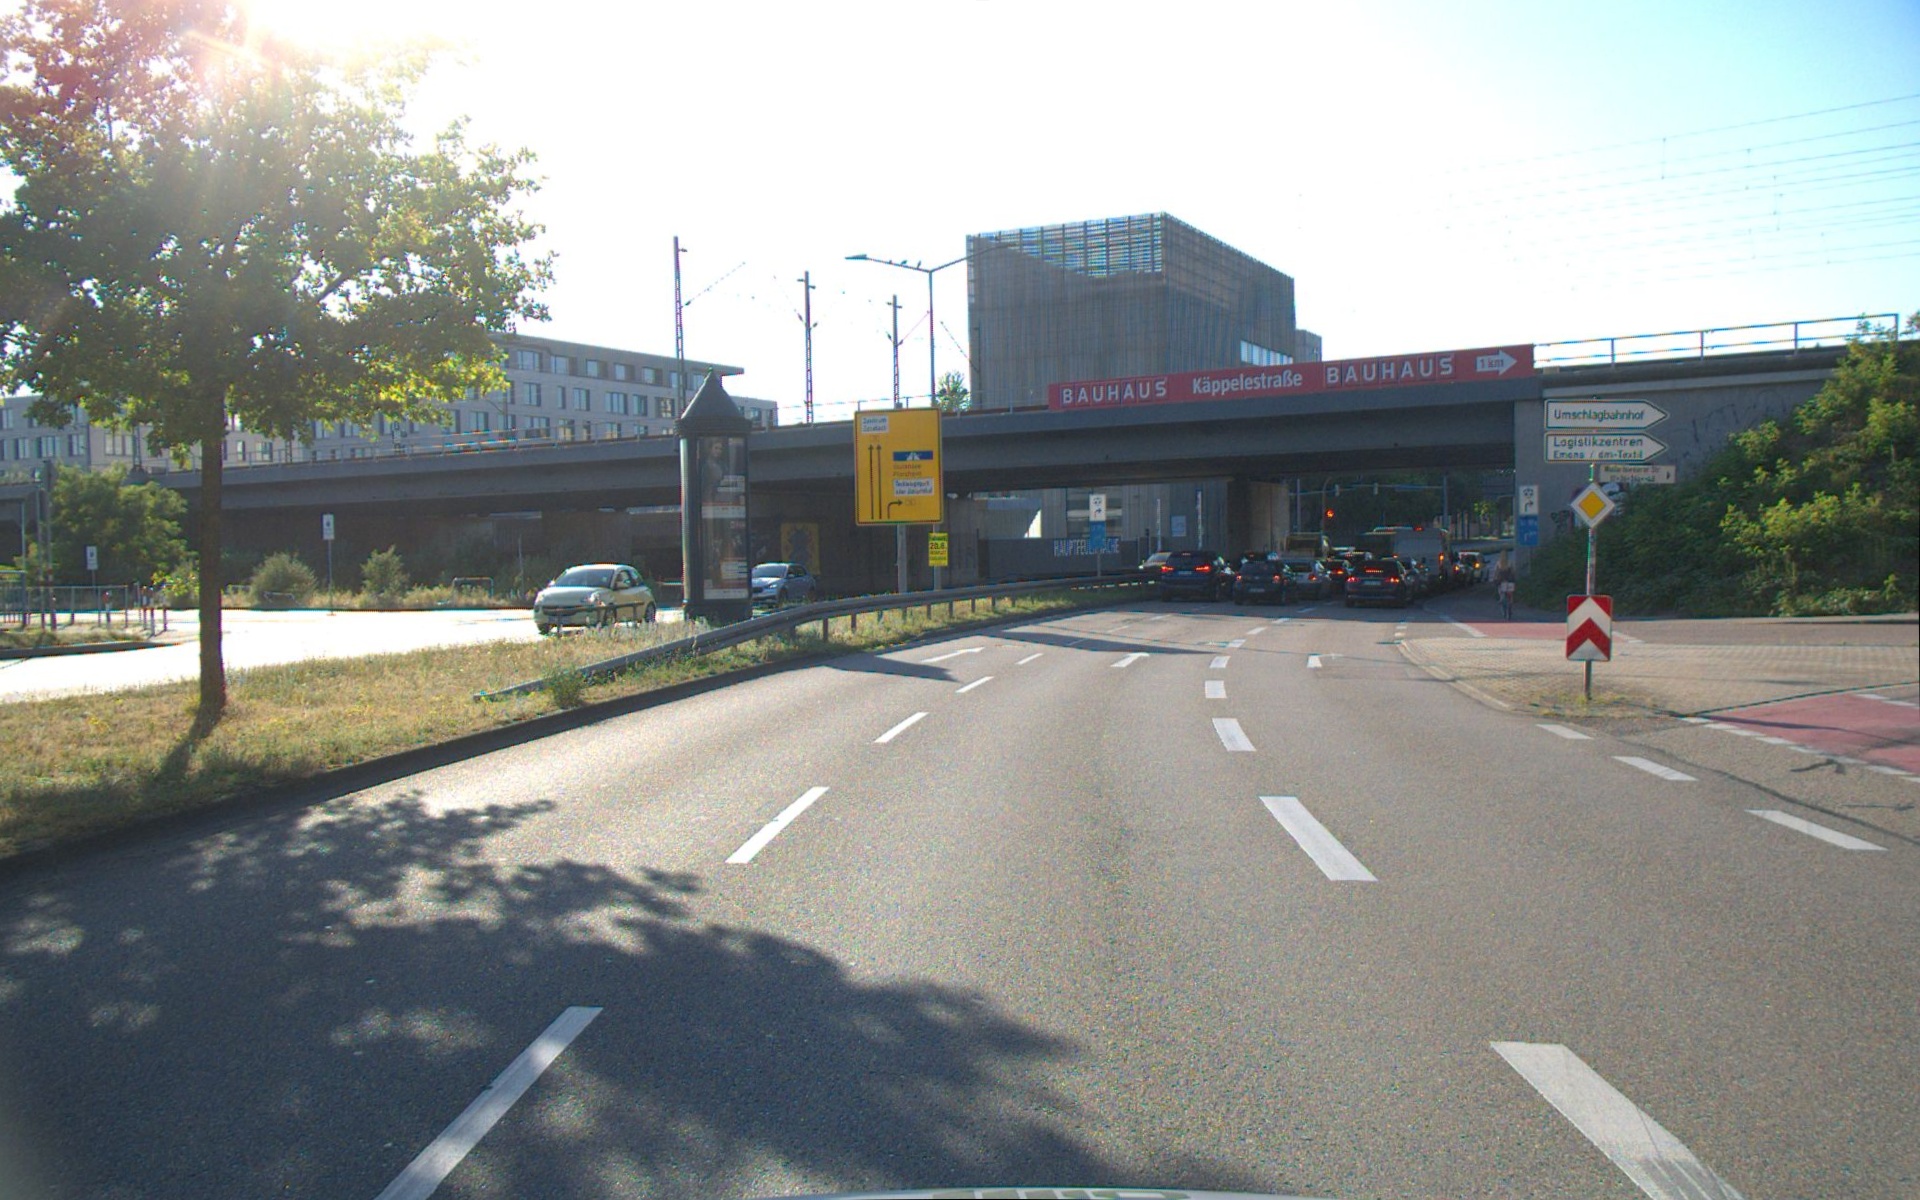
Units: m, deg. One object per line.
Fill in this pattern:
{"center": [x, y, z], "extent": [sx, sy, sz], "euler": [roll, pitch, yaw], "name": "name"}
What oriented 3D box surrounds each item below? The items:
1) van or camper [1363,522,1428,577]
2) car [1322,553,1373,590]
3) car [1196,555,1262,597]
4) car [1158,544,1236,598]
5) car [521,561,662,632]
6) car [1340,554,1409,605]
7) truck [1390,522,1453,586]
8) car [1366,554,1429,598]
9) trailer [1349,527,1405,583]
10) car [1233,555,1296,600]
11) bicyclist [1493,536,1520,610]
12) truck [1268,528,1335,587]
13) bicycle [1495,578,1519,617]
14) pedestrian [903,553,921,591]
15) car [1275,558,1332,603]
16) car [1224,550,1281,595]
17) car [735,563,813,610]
{"center": [21.757, -2.495, 82.486], "extent": [1.955, 2.615, 5.912], "euler": [0, 1, 26], "name": "van or camper"}
{"center": [16.758, -1.213, 71.482], "extent": [1.549, 1.559, 3.831], "euler": [0, 1, 23], "name": "car"}
{"center": [10.428, -0.934, 63.976], "extent": [1.803, 1.465, 3.677], "euler": [-4, 0, 20], "name": "car"}
{"center": [8.316, -1.002, 57.682], "extent": [1.791, 1.769, 4.463], "euler": [-1, 1, 20], "name": "car"}
{"center": [-8.239, -0.076, 37.300], "extent": [1.703, 1.488, 3.769], "euler": [-1, 0, 11], "name": "car"}
{"center": [13.487, -0.699, 53.613], "extent": [1.704, 1.479, 4.608], "euler": [0, 3, 20], "name": "car"}
{"center": [18.992, -1.887, 67.963], "extent": [2.068, 2.563, 4.401], "euler": [1, 1, 21], "name": "truck"}
{"center": [16.069, -0.876, 60.635], "extent": [1.736, 1.521, 3.832], "euler": [-2, 0, 22], "name": "car"}
{"center": [19.505, -2.090, 77.305], "extent": [1.827, 2.508, 3.830], "euler": [-2, 0, 24], "name": "trailer"}
{"center": [10.121, -0.746, 54.764], "extent": [1.548, 1.433, 3.834], "euler": [0, 1, 18], "name": "car"}
{"center": [14.329, -0.708, 43.368], "extent": [0.667, 1.940, 0.834], "euler": [0, 1, 18], "name": "bicyclist"}
{"center": [15.888, -1.943, 76.669], "extent": [1.987, 2.601, 5.536], "euler": [0, 1, 23], "name": "truck"}
{"center": [14.281, -0.084, 43.177], "extent": [0.566, 0.980, 2.888], "euler": [0, 1, 18], "name": "bicycle"}
{"center": [-2.501, -1.468, 86.642], "extent": [0.680, 1.936, 0.664], "euler": [0, 1, 25], "name": "pedestrian"}
{"center": [12.403, -0.713, 59.551], "extent": [1.515, 1.447, 3.419], "euler": [-4, 1, 19], "name": "car"}
{"center": [12.378, -1.155, 69.848], "extent": [1.802, 1.749, 4.002], "euler": [-4, 0, 17], "name": "car"}
{"center": [-6.224, -0.451, 55.791], "extent": [1.637, 1.488, 4.109], "euler": [-1, 0, 8], "name": "car"}
